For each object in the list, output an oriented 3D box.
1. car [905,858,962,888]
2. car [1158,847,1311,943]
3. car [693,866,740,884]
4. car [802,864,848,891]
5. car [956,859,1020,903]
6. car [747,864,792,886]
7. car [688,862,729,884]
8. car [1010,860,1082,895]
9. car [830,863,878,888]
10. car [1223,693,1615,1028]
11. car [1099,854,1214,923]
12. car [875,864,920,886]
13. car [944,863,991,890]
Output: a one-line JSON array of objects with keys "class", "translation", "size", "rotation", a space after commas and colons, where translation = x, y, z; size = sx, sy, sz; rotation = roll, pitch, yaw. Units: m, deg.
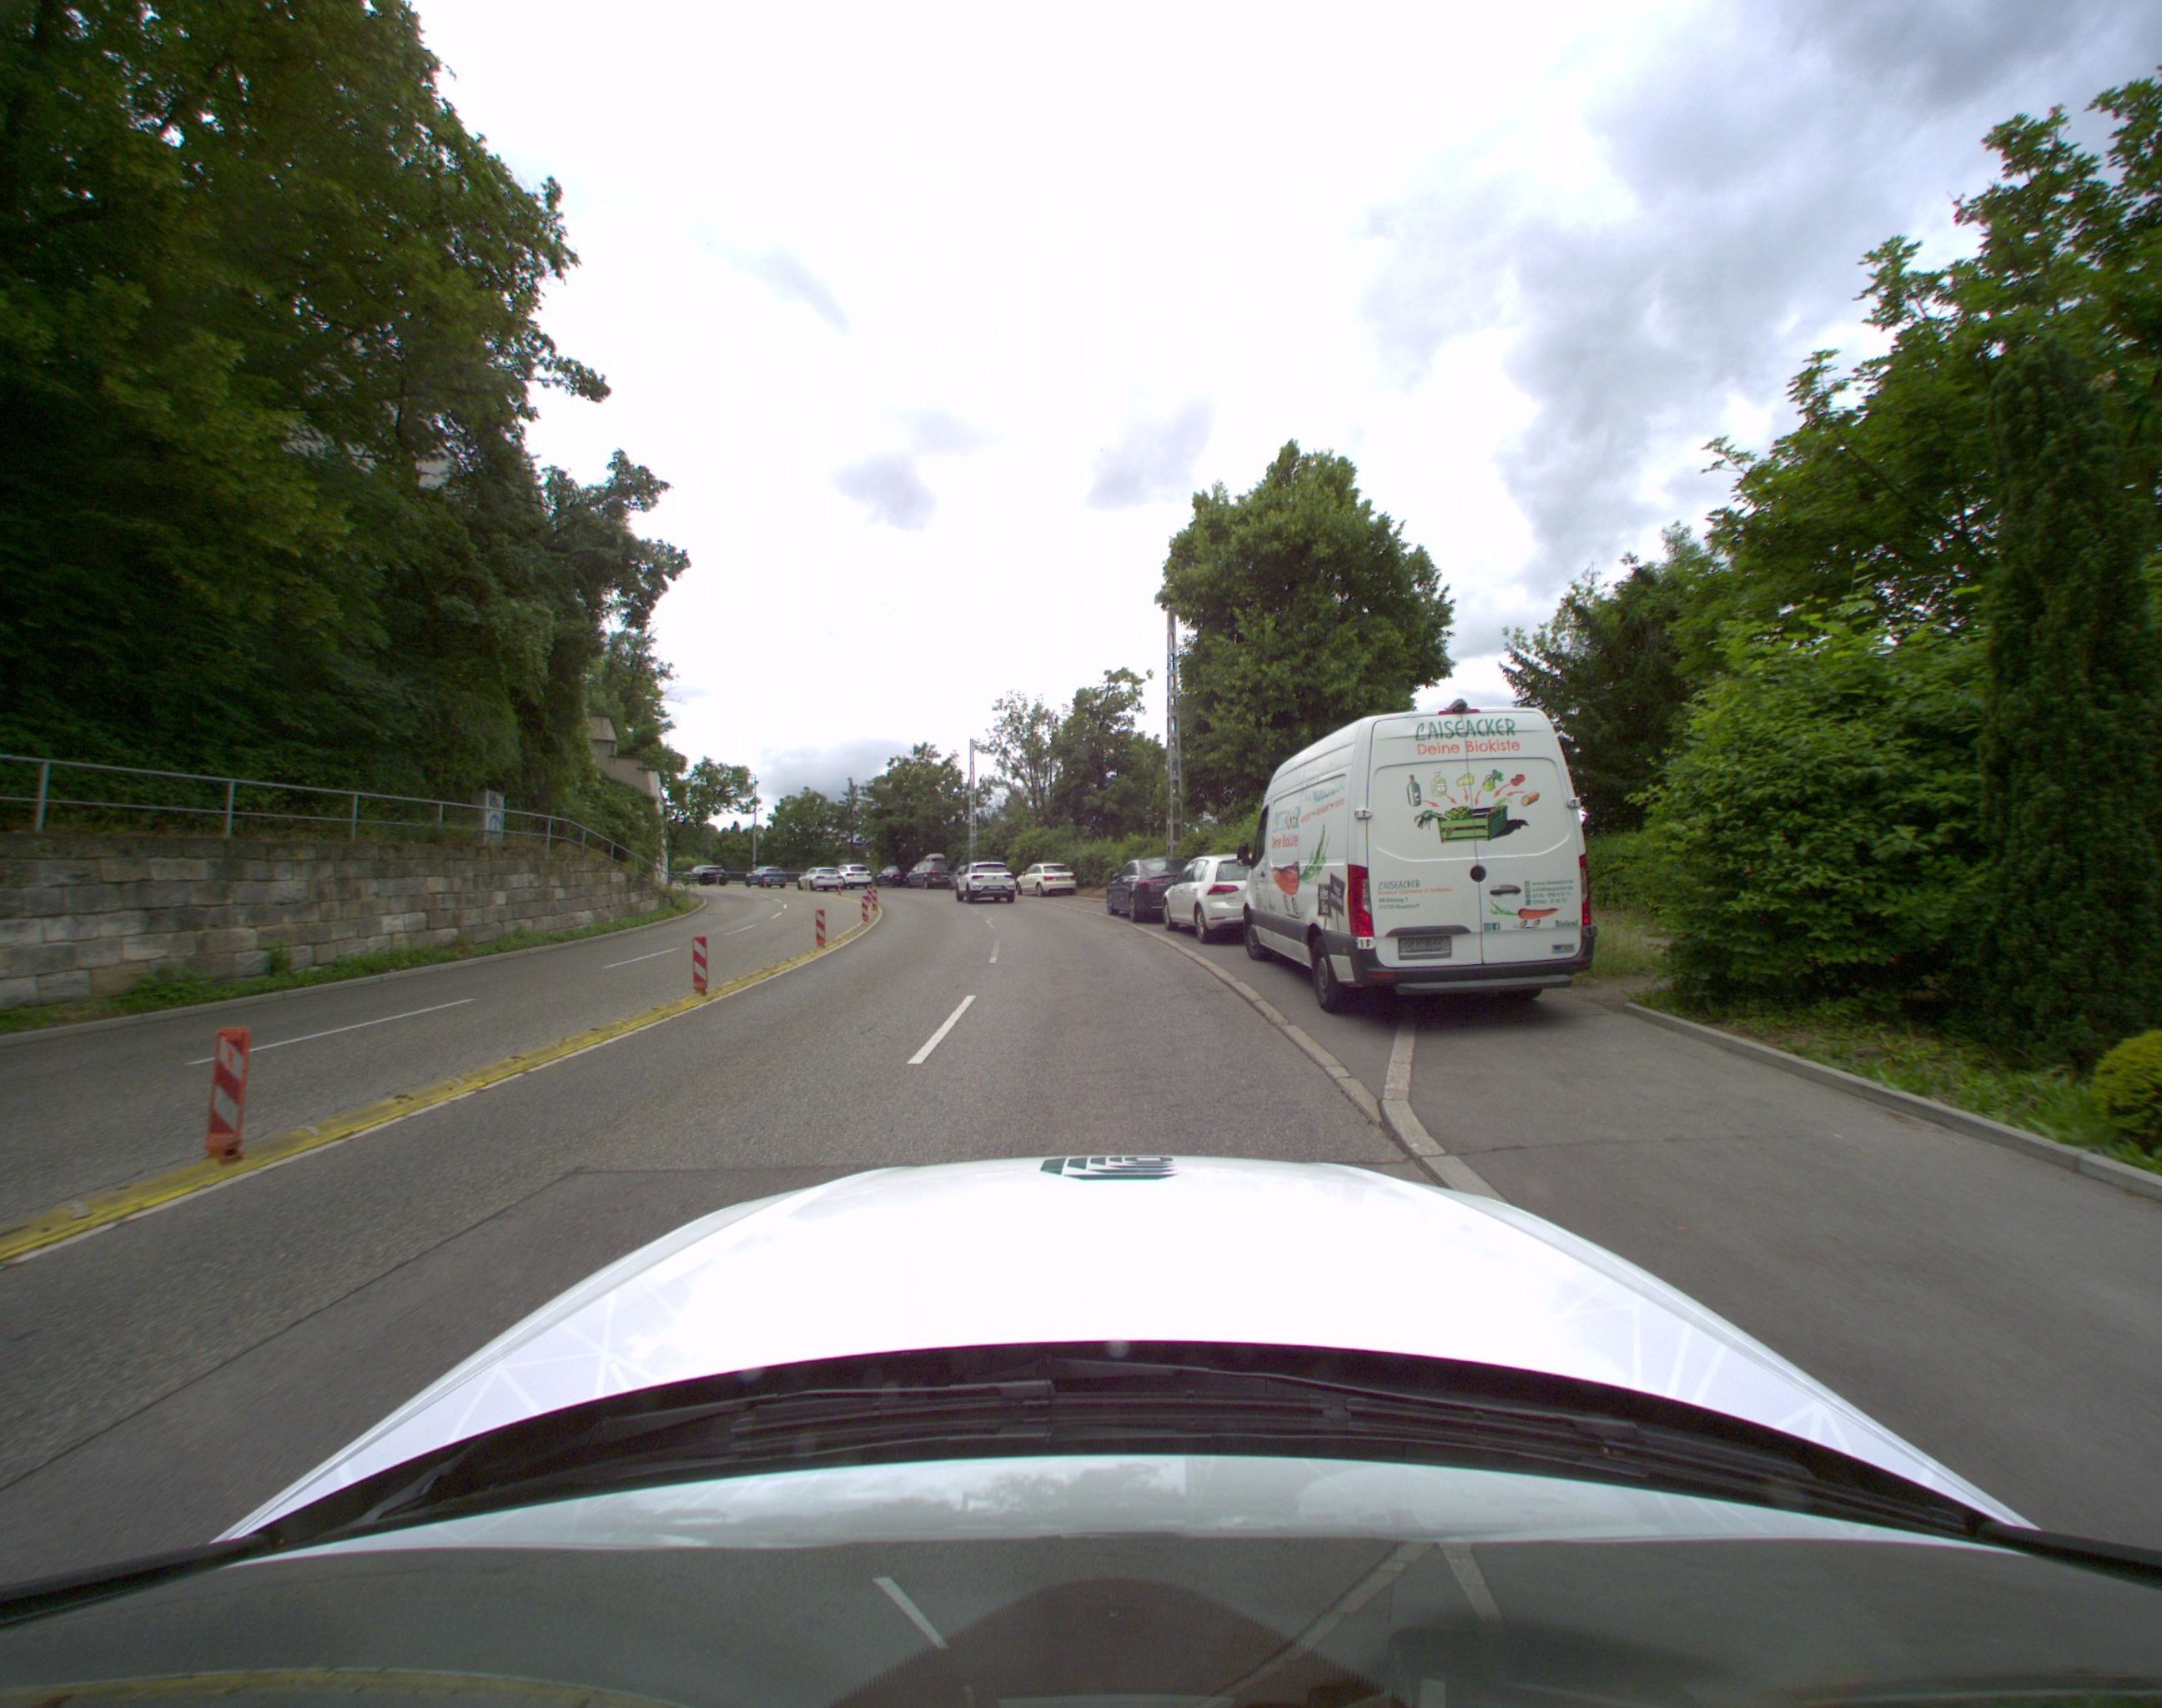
[{"class": "car", "translation": [-9.325, 1.205, 51.152], "size": [1.811, 1.772, 4.558], "rotation": [1, -2, -34]}, {"class": "car", "translation": [2.628, 0.670, 14.851], "size": [1.698, 1.464, 3.827], "rotation": [-2, -1, -6]}, {"class": "car", "translation": [-32.560, 1.902, 72.833], "size": [3.496, 1.526, 1.707], "rotation": [1, -2, 18]}, {"class": "car", "translation": [-15.923, 1.433, 50.549], "size": [1.917, 1.574, 3.963], "rotation": [2, -2, -28]}, {"class": "car", "translation": [-3.684, 1.013, 31.790], "size": [1.871, 1.536, 3.782], "rotation": [-1, -1, -16]}, {"class": "car", "translation": [-22.893, 1.557, 59.791], "size": [2.009, 1.541, 3.964], "rotation": [3, -3, -38]}, {"class": "car", "translation": [-30.704, 1.554, 67.094], "size": [1.831, 1.690, 3.951], "rotation": [3, -3, -44]}, {"class": "car", "translation": [-1.623, 1.053, 36.541], "size": [1.786, 1.418, 3.965], "rotation": [-2, 0, -26]}, {"class": "car", "translation": [-15.255, 1.423, 54.535], "size": [2.007, 1.586, 3.959], "rotation": [3, -2, -32]}, {"class": "car", "translation": [3.151, 0.075, 9.300], "size": [2.077, 2.523, 5.846], "rotation": [-3, -1, 2]}, {"class": "car", "translation": [1.709, 0.769, 20.110], "size": [1.700, 1.464, 4.649], "rotation": [-1, 0, -9]}, {"class": "car", "translation": [-12.671, 1.446, 56.111], "size": [1.671, 1.487, 3.992], "rotation": [1, -2, -33]}, {"class": "car", "translation": [-6.520, 1.294, 46.467], "size": [1.648, 1.464, 3.969], "rotation": [1, -2, -23]}]
